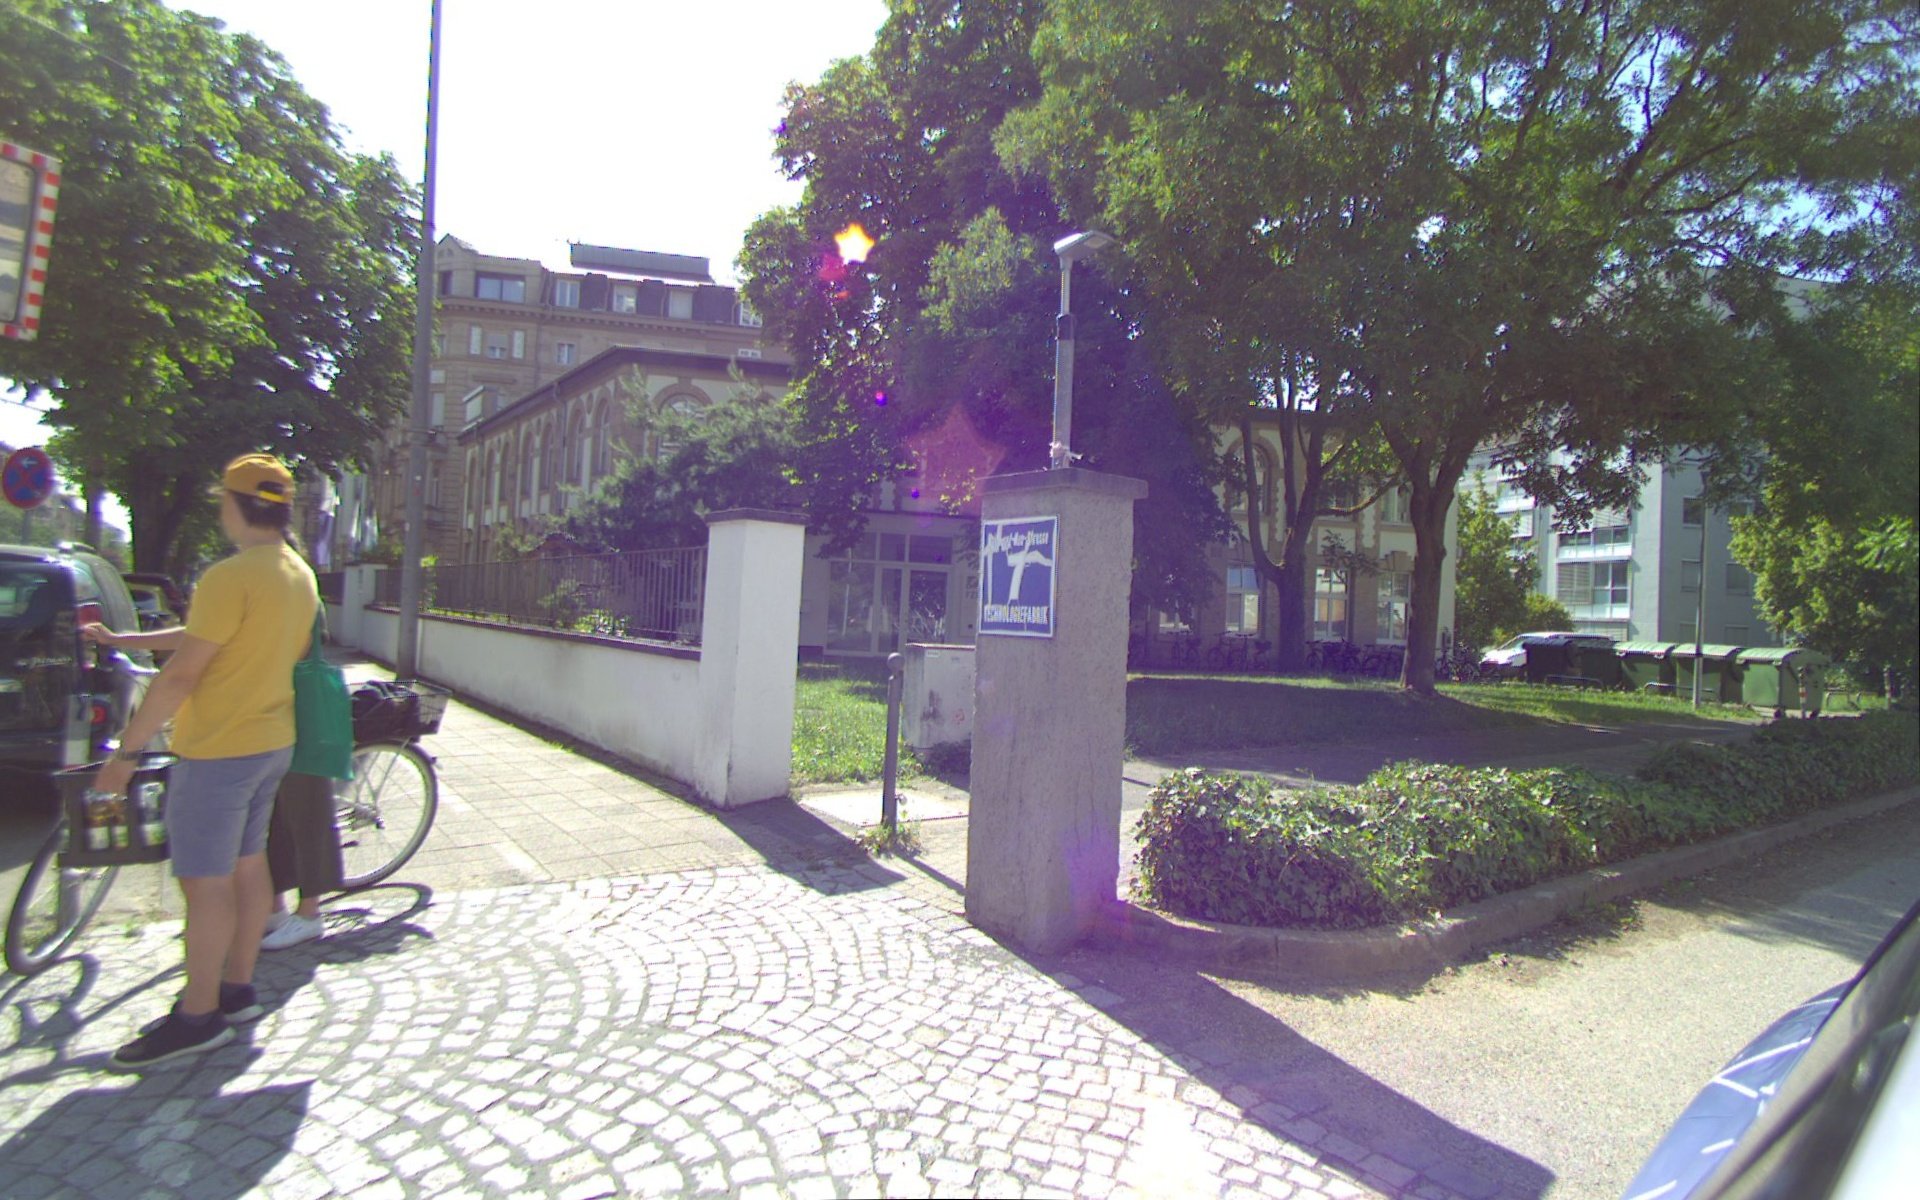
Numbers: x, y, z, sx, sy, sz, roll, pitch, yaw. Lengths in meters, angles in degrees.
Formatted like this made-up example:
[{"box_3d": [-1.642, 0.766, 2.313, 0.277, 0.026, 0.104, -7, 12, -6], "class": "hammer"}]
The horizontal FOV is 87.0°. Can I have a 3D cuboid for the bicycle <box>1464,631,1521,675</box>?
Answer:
[{"box_3d": [15.445, 1.516, 29.387, 0.546, 1.176, 1.945, 2, -1, -2], "class": "bicycle"}]

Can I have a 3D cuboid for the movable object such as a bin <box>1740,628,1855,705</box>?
[{"box_3d": [17.297, 1.350, 20.949, 1.192, 1.481, 1.392, 2, -1, 0], "class": "movable object such as a bin"}]

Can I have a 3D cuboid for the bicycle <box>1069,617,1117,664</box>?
[{"box_3d": [3.603, 1.086, 27.596, 0.576, 1.176, 2.106, 2, -1, -12], "class": "bicycle"}]

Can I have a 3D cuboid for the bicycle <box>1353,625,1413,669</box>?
[{"box_3d": [12.105, 1.323, 29.003, 0.576, 1.176, 1.925, 2, -1, -12], "class": "bicycle"}]

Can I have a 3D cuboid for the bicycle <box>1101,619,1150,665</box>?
[{"box_3d": [4.508, 1.137, 27.717, 0.576, 1.176, 2.106, 2, -1, -12], "class": "bicycle"}]

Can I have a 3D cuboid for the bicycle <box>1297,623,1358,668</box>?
[{"box_3d": [10.404, 1.278, 28.705, 0.576, 1.176, 2.106, 2, -1, -12], "class": "bicycle"}]

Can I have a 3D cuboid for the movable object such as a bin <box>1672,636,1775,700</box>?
[{"box_3d": [16.846, 1.490, 22.357, 1.190, 1.317, 1.358, 2, -1, -15], "class": "movable object such as a bin"}]

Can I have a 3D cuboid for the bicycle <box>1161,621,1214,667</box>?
[{"box_3d": [6.277, 1.187, 27.998, 0.576, 1.176, 2.106, 2, -1, -12], "class": "bicycle"}]

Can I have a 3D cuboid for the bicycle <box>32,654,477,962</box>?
[{"box_3d": [-2.899, 0.776, 4.323, 0.361, 1.054, 1.494, 1, -1, 34], "class": "bicycle"}]

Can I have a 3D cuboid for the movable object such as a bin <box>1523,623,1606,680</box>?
[{"box_3d": [16.057, 1.357, 26.910, 1.223, 1.427, 1.439, 2, -1, -16], "class": "movable object such as a bin"}]

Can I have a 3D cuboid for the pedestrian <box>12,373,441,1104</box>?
[{"box_3d": [-2.307, 0.357, 3.213, 0.825, 1.888, 0.842, 1, -2, 38], "class": "pedestrian"}]

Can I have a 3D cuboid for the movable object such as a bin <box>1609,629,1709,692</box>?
[{"box_3d": [16.440, 1.403, 23.832, 1.190, 1.379, 1.505, 2, -1, -15], "class": "movable object such as a bin"}]

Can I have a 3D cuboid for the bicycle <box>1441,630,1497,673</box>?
[{"box_3d": [14.827, 1.486, 29.512, 0.496, 1.176, 1.807, 2, -1, -7], "class": "bicycle"}]

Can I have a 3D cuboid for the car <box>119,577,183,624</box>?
[{"box_3d": [-31.873, 0.003, 39.905, 1.823, 1.701, 3.996, 3, -1, -39], "class": "car"}]

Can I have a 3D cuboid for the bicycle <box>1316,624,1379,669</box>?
[{"box_3d": [11.034, 1.298, 28.892, 0.576, 1.176, 2.106, 2, -1, -12], "class": "bicycle"}]

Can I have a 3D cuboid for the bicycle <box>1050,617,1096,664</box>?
[{"box_3d": [3.031, 1.067, 27.350, 0.576, 1.176, 2.106, 2, -1, -12], "class": "bicycle"}]

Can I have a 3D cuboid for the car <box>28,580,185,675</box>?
[{"box_3d": [-14.608, 0.422, 17.467, 1.823, 1.430, 3.996, 3, -1, -39], "class": "car"}]

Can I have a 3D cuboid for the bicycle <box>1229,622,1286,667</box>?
[{"box_3d": [8.328, 1.226, 28.420, 0.576, 1.176, 2.106, 2, -1, -12], "class": "bicycle"}]

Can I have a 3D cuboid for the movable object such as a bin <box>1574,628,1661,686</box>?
[{"box_3d": [16.484, 1.423, 25.392, 1.190, 1.366, 1.355, 2, -1, -15], "class": "movable object such as a bin"}]

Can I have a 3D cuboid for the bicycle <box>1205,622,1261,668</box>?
[{"box_3d": [7.591, 1.230, 28.230, 0.576, 1.176, 2.106, 2, -1, -12], "class": "bicycle"}]

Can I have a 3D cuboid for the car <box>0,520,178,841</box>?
[{"box_3d": [-6.537, 0.396, 6.805, 1.822, 1.705, 3.999, 3, -1, -36], "class": "car"}]

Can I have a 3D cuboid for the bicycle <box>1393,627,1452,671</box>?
[{"box_3d": [13.360, 1.405, 29.315, 0.484, 1.176, 1.917, 2, -1, -12], "class": "bicycle"}]

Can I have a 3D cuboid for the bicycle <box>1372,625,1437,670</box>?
[{"box_3d": [12.808, 1.350, 29.222, 0.576, 1.176, 2.106, 2, -1, -12], "class": "bicycle"}]

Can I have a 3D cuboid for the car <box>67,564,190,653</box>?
[{"box_3d": [-17.702, 0.171, 21.650, 1.823, 1.701, 3.996, 3, -1, -39], "class": "car"}]

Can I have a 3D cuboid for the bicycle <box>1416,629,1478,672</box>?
[{"box_3d": [14.175, 1.460, 29.536, 0.600, 1.176, 1.854, 2, -1, -12], "class": "bicycle"}]

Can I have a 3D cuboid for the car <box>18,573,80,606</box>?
[{"box_3d": [-44.195, -0.504, 49.173, 1.857, 1.426, 4.589, 5, -2, -38], "class": "car"}]

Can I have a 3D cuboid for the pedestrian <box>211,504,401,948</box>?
[{"box_3d": [-2.616, 0.464, 4.059, 0.419, 1.642, 0.448, 1, -2, 34], "class": "pedestrian"}]
